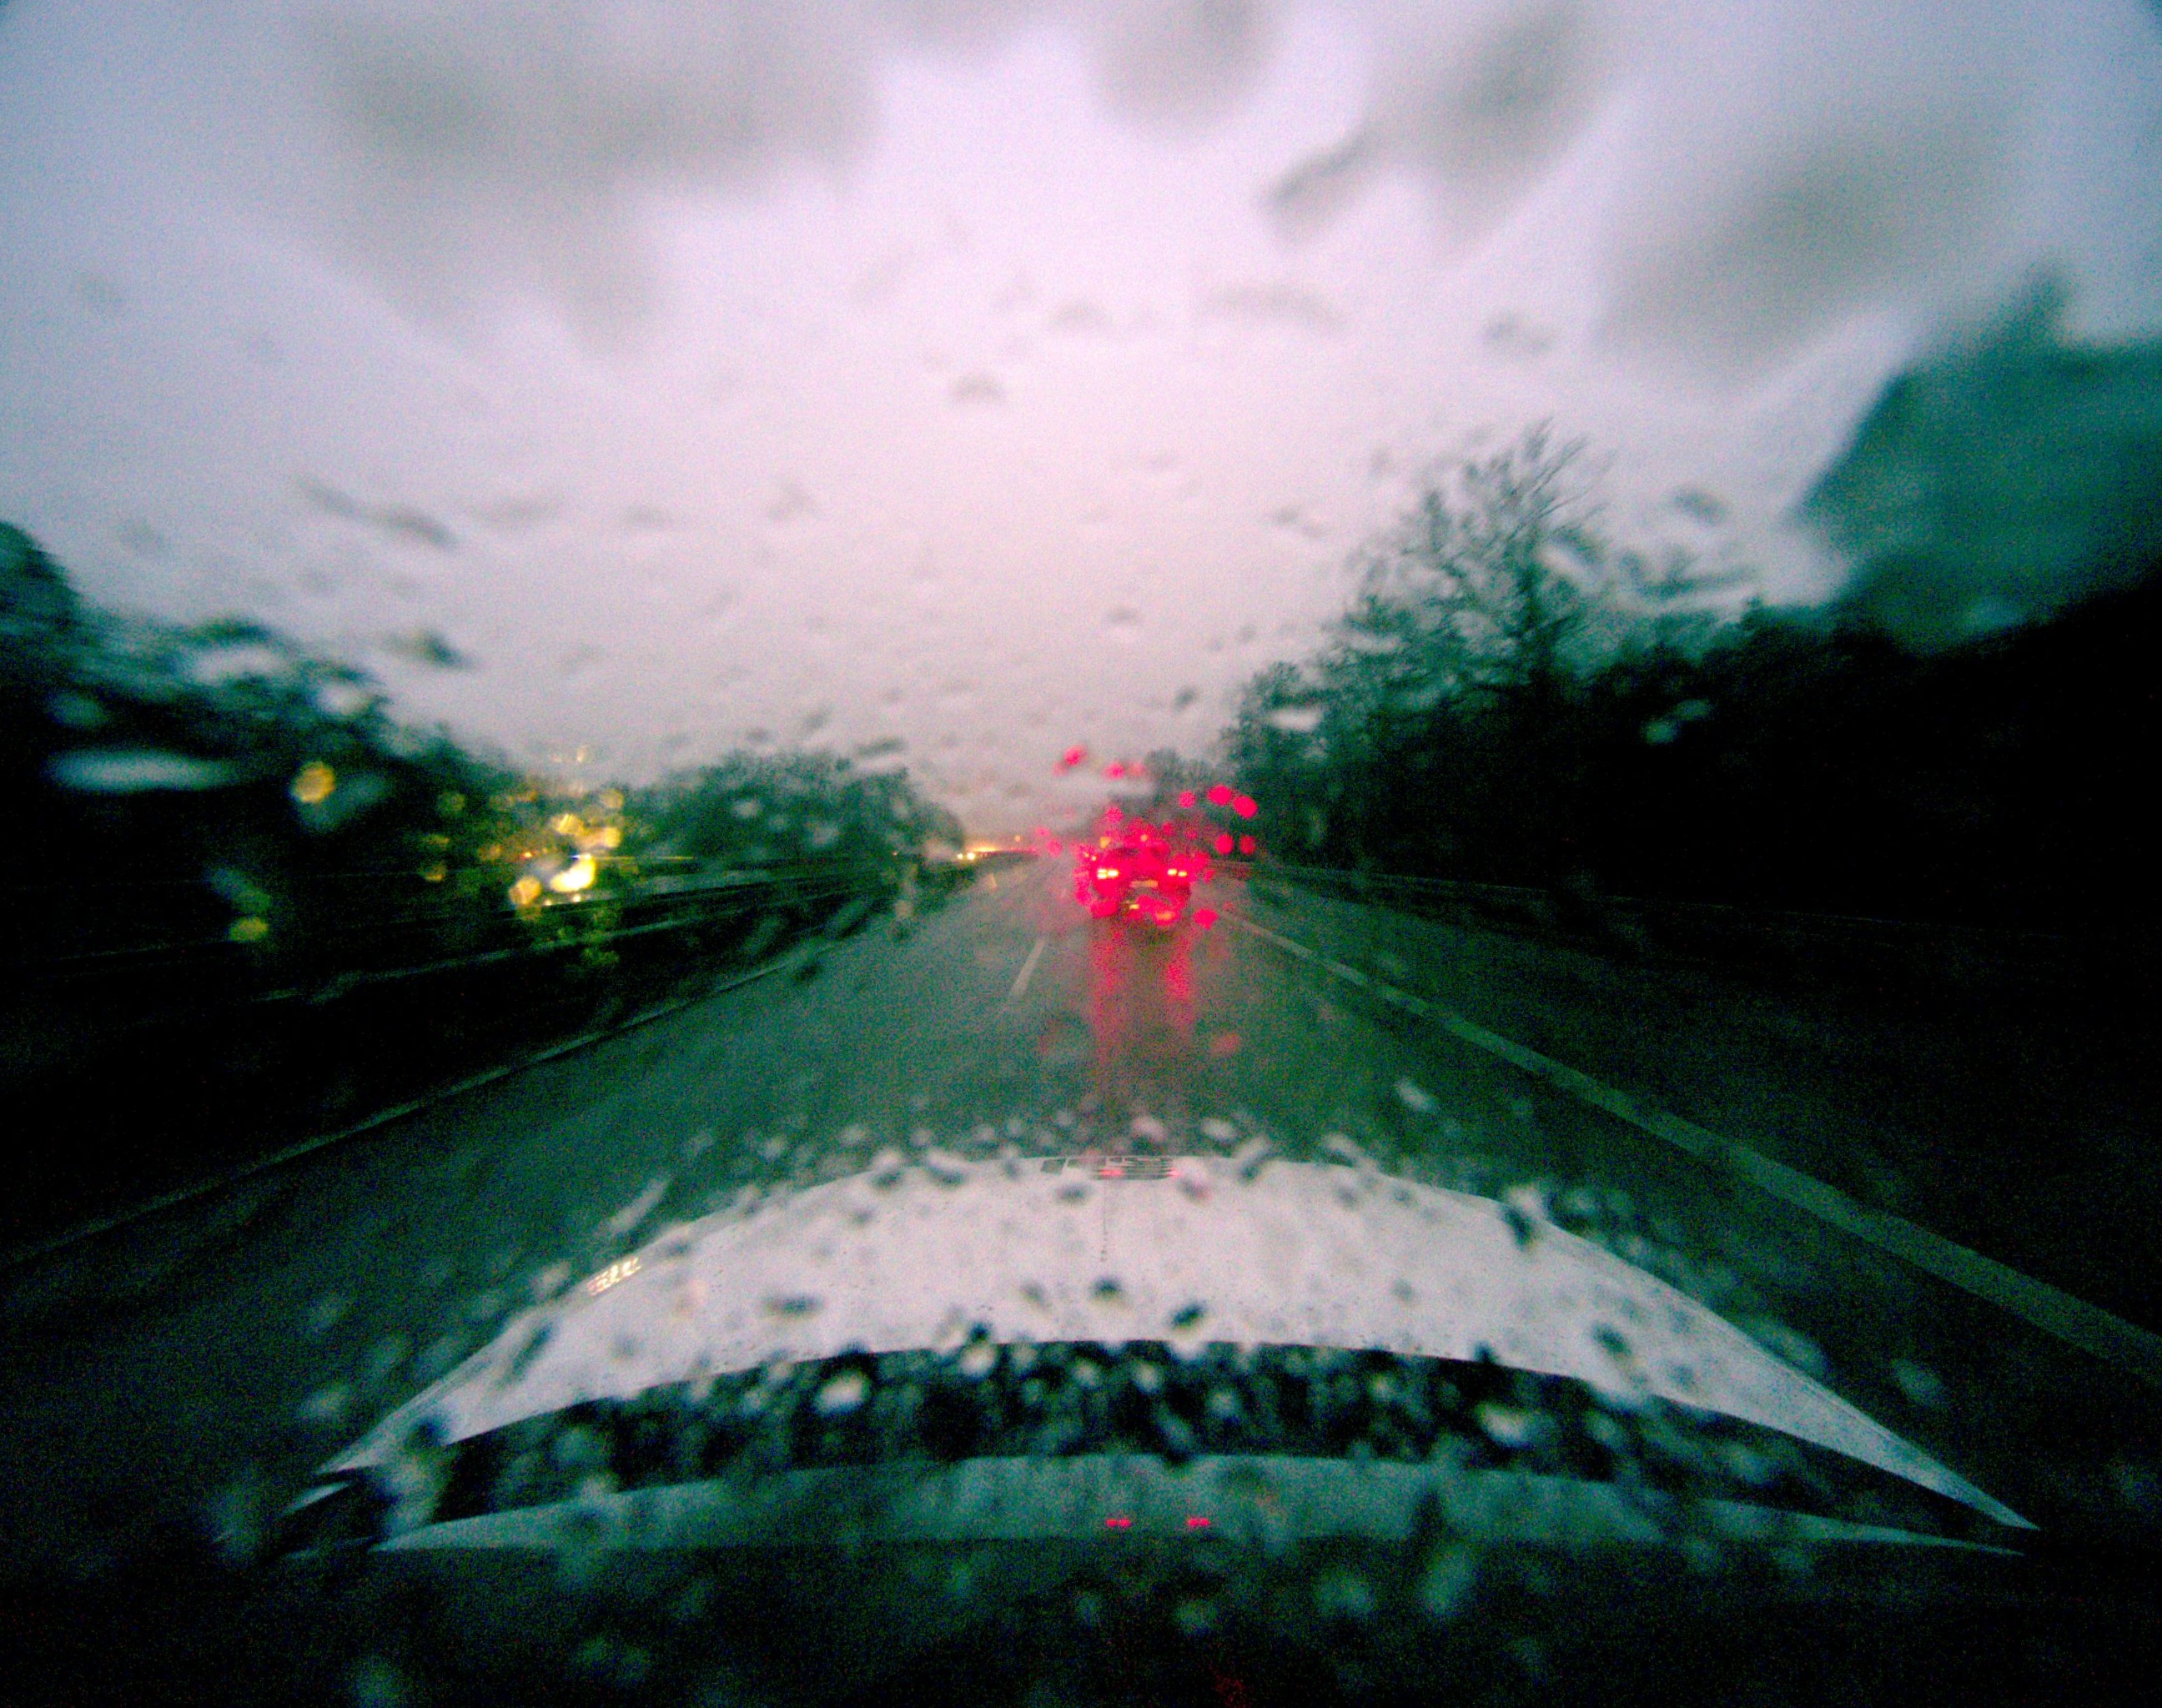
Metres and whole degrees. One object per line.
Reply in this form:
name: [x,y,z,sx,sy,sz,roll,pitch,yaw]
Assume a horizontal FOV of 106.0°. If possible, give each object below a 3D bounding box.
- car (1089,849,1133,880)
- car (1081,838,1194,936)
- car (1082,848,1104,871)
car: [1.483,0.477,39.759,1.986,1.420,4.002,1,0,2]
car: [1.013,0.583,16.429,1.986,1.715,3.829,-1,0,0]
car: [1.094,0.486,75.751,1.987,2.013,4.000,-1,0,1]
